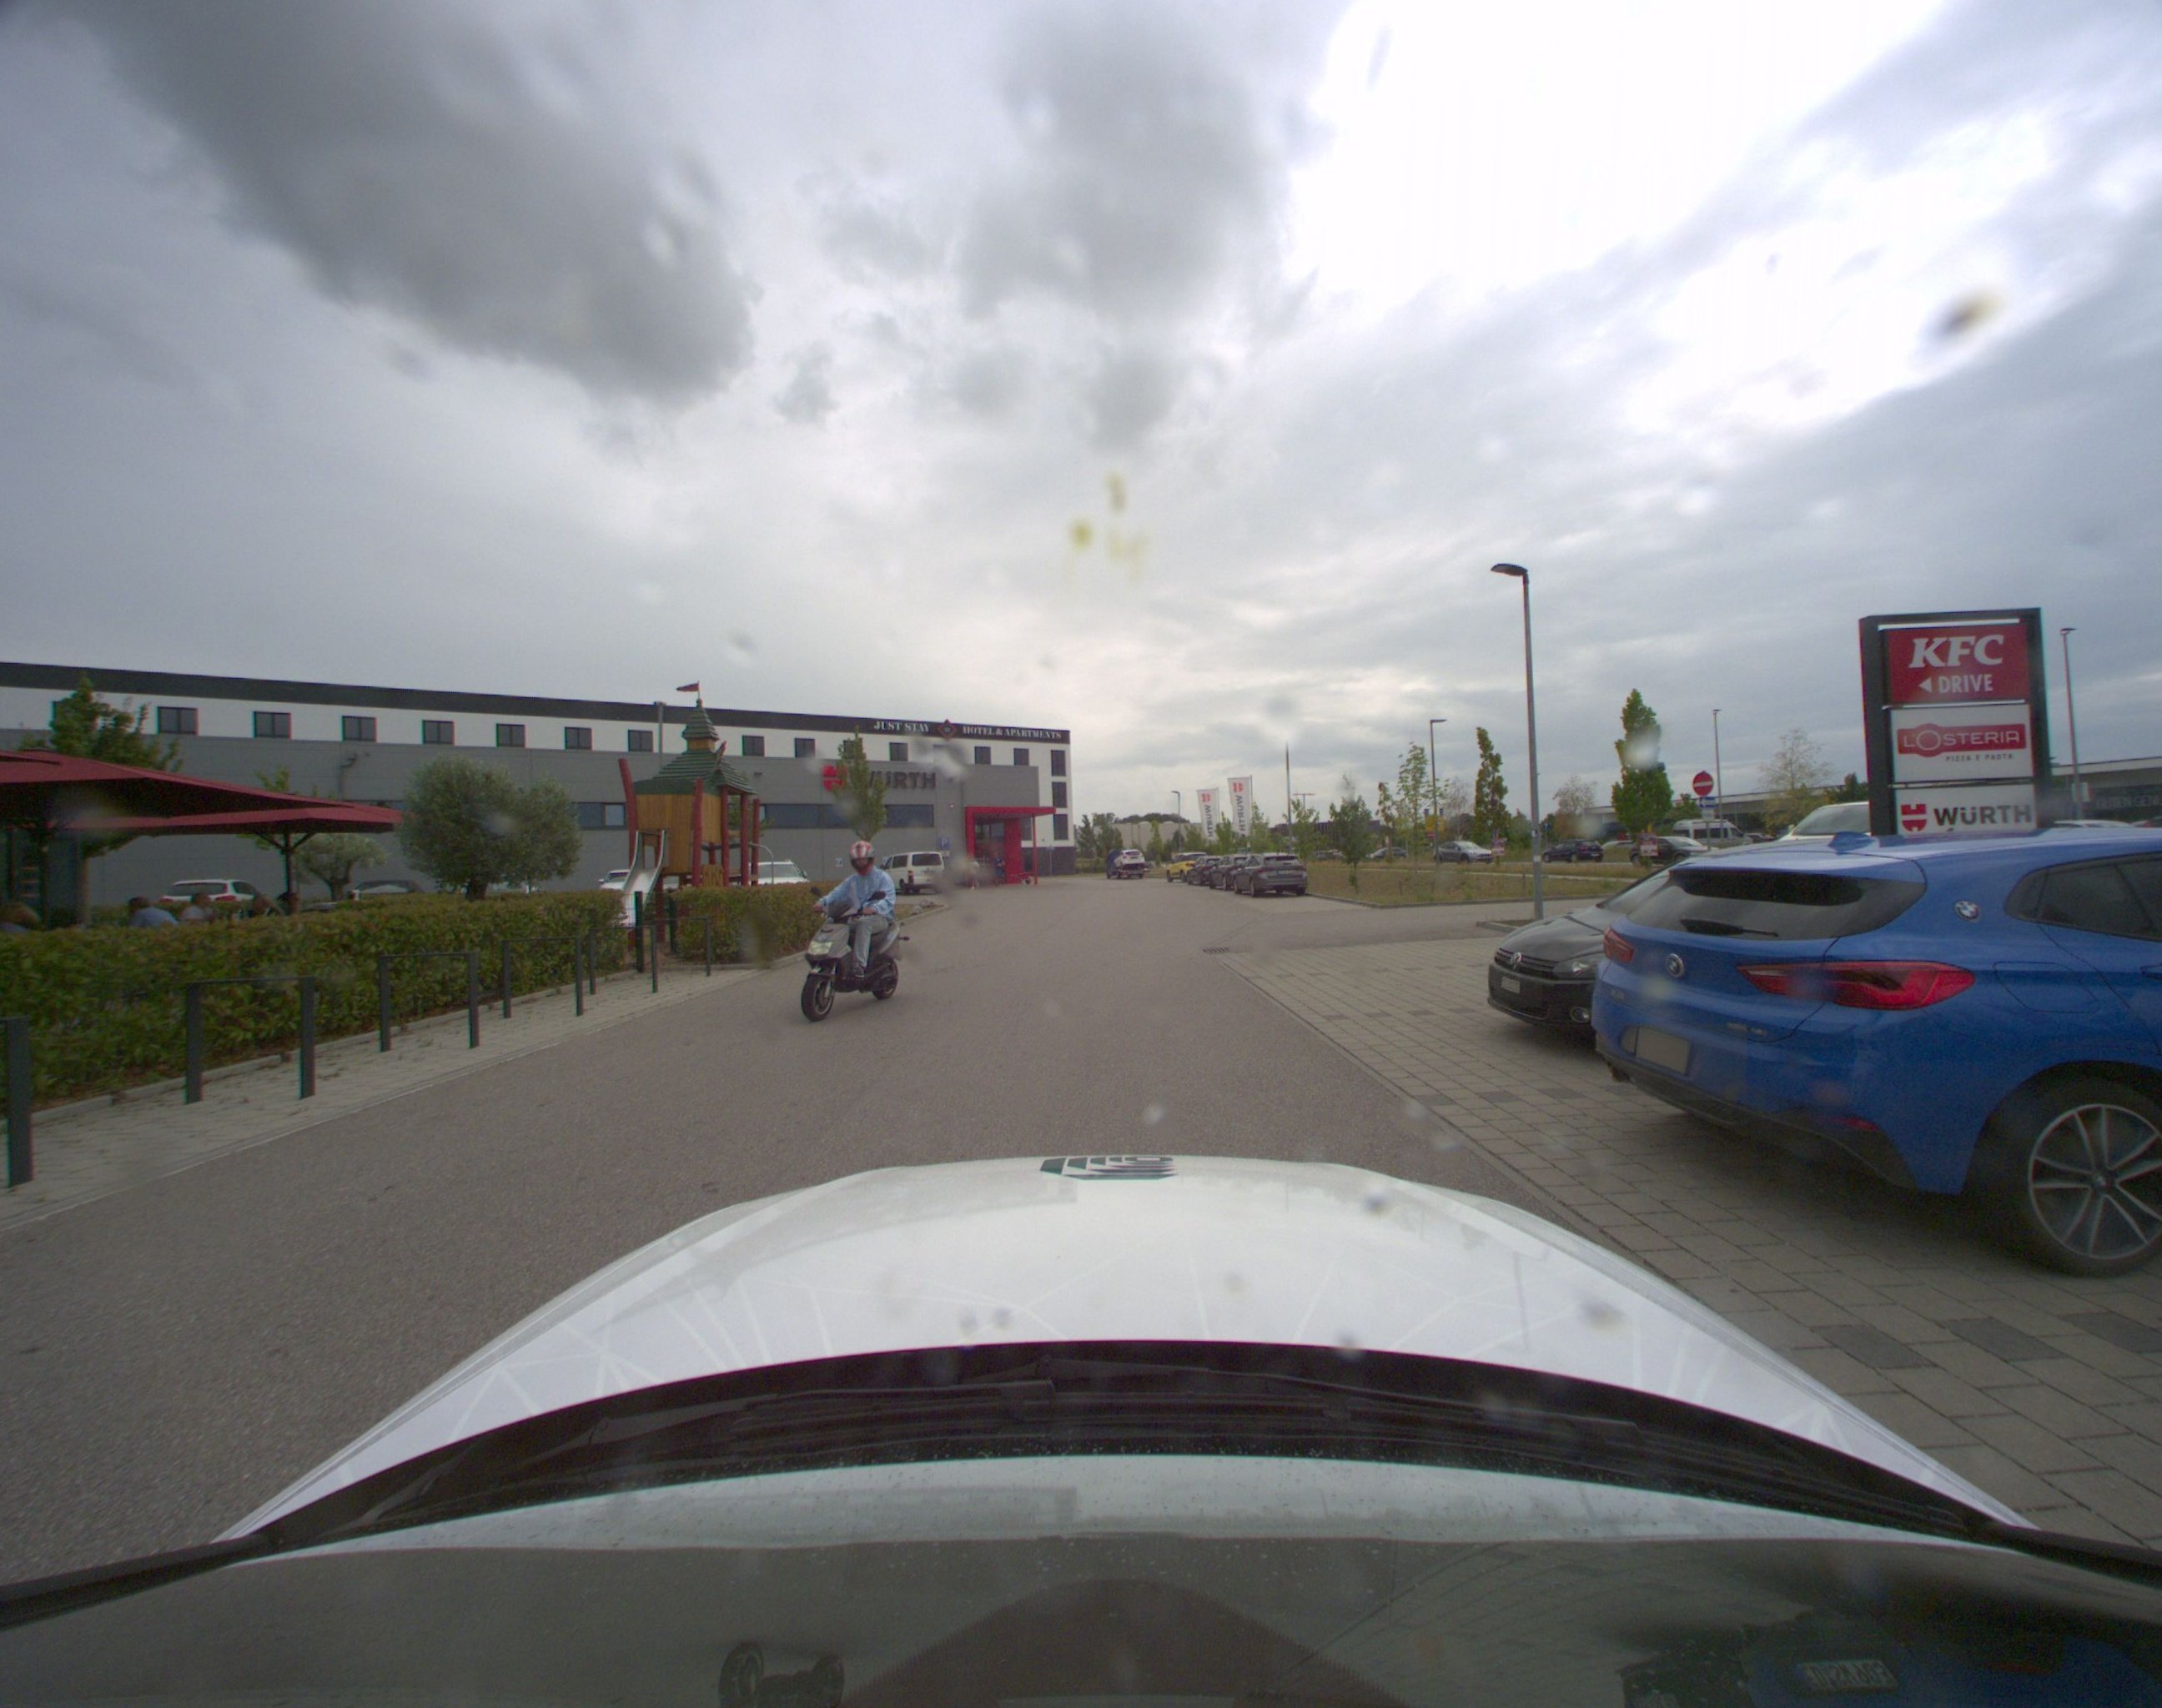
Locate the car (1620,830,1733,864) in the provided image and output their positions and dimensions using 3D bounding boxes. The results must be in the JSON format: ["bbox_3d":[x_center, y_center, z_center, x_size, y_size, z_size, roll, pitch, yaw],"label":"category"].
[{"bbox_3d":[26.566,-0.281,36.547,1.760,1.395,4.212,-2,0,-4],"label":"car"}]

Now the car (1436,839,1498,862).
[{"bbox_3d":[26.317,-0.216,55.667,1.760,1.395,4.551,-2,0,-4],"label":"car"}]

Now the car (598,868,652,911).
[{"bbox_3d":[-18.690,1.450,33.525,1.747,1.552,4.224,-3,-1,-28],"label":"car"}]

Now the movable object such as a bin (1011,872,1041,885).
[{"bbox_3d":[-3.250,1.422,47.859,1.495,0.704,0.957,-1,-1,-24],"label":"movable object such as a bin"}]

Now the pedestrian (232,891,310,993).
[{"bbox_3d":[-14.795,1.574,14.889,0.744,1.748,0.698,-3,-1,-24],"label":"pedestrian"}]

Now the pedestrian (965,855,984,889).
[{"bbox_3d":[-5.573,0.924,42.579,0.619,1.751,0.908,-2,-1,12],"label":"pedestrian"}]

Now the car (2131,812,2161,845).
[{"bbox_3d":[63.576,-1.557,46.350,1.998,1.838,4.164,-3,0,-16],"label":"car"}]

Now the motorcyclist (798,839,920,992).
[{"bbox_3d":[-2.306,0.621,8.537,0.822,1.489,0.945,-3,-1,14],"label":"motorcyclist"}]

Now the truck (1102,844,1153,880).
[{"bbox_3d":[3.508,0.675,63.382,2.330,2.407,7.870,-1,-3,-9],"label":"truck"}]

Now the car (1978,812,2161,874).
[{"bbox_3d":[27.099,-0.284,21.780,1.818,1.459,4.001,-4,0,1],"label":"car"}]

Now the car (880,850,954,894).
[{"bbox_3d":[-7.839,0.874,38.684,2.070,1.855,4.019,-4,0,-33],"label":"car"}]

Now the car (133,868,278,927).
[{"bbox_3d":[-28.750,1.405,26.948,2.007,1.638,4.756,-3,-1,-32],"label":"car"}]

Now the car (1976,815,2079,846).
[{"bbox_3d":[65.808,-1.623,56.705,2.000,1.838,4.160,-3,0,-19],"label":"car"}]

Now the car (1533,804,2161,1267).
[{"bbox_3d":[4.689,0.577,3.732,4.188,1.544,1.864,-2,-1,0],"label":"car"}]

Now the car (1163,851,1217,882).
[{"bbox_3d":[6.206,0.740,46.967,1.858,1.650,3.983,0,-1,-12],"label":"car"}]

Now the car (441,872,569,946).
[{"bbox_3d":[-15.318,1.394,21.927,2.004,1.650,4.539,-3,-1,-26],"label":"car"}]

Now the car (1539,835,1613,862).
[{"bbox_3d":[31.136,-0.321,51.380,1.918,1.486,4.420,-4,0,0],"label":"car"}]

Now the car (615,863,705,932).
[{"bbox_3d":[-12.001,1.197,23.419,2.004,1.650,4.539,-3,-1,-26],"label":"car"}]

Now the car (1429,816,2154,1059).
[{"bbox_3d":[5.137,0.563,6.367,4.046,1.459,1.777,-3,0,2],"label":"car"}]

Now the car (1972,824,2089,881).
[{"bbox_3d":[24.205,-0.051,20.855,1.447,1.337,3.183,-2,-1,41],"label":"car"}]

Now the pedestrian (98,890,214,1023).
[{"bbox_3d":[-12.998,1.416,11.463,0.737,1.748,0.704,-4,-1,3],"label":"pedestrian"}]

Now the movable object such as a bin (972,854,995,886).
[{"bbox_3d":[-5.321,0.859,44.305,0.916,1.672,0.736,-5,1,-30],"label":"movable object such as a bin"}]

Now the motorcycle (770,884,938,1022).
[{"bbox_3d":[-2.294,0.960,8.530,0.786,1.208,1.929,-3,-1,14],"label":"motorcycle"}]

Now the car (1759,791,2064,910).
[{"bbox_3d":[16.954,-0.104,16.687,5.221,2.086,1.990,-2,0,-14],"label":"car"}]

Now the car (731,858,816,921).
[{"bbox_3d":[-9.529,1.054,25.016,2.004,1.650,4.539,-3,-1,-26],"label":"car"}]

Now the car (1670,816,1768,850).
[{"bbox_3d":[48.567,-1.587,62.070,5.561,2.122,2.340,-4,-1,0],"label":"car"}]

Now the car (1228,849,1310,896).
[{"bbox_3d":[6.455,0.615,28.445,1.746,1.469,4.473,-2,-1,-1],"label":"car"}]

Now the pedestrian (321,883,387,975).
[{"bbox_3d":[-14.653,1.484,16.442,0.744,1.748,0.698,-3,-1,-24],"label":"pedestrian"}]

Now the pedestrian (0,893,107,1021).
[{"bbox_3d":[-15.030,1.475,11.869,0.737,1.748,0.704,-4,-1,3],"label":"pedestrian"}]

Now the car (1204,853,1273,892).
[{"bbox_3d":[6.500,0.737,34.147,1.748,1.469,4.469,-1,-1,-4],"label":"car"}]

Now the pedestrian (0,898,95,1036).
[{"bbox_3d":[-14.186,1.515,11.024,0.737,1.748,0.704,-4,-1,3],"label":"pedestrian"}]

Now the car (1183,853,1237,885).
[{"bbox_3d":[6.343,0.716,40.518,1.748,1.469,4.102,-1,-1,-4],"label":"car"}]

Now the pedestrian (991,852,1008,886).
[{"bbox_3d":[-4.377,0.812,43.827,0.673,1.802,0.882,-2,-1,6],"label":"pedestrian"}]
